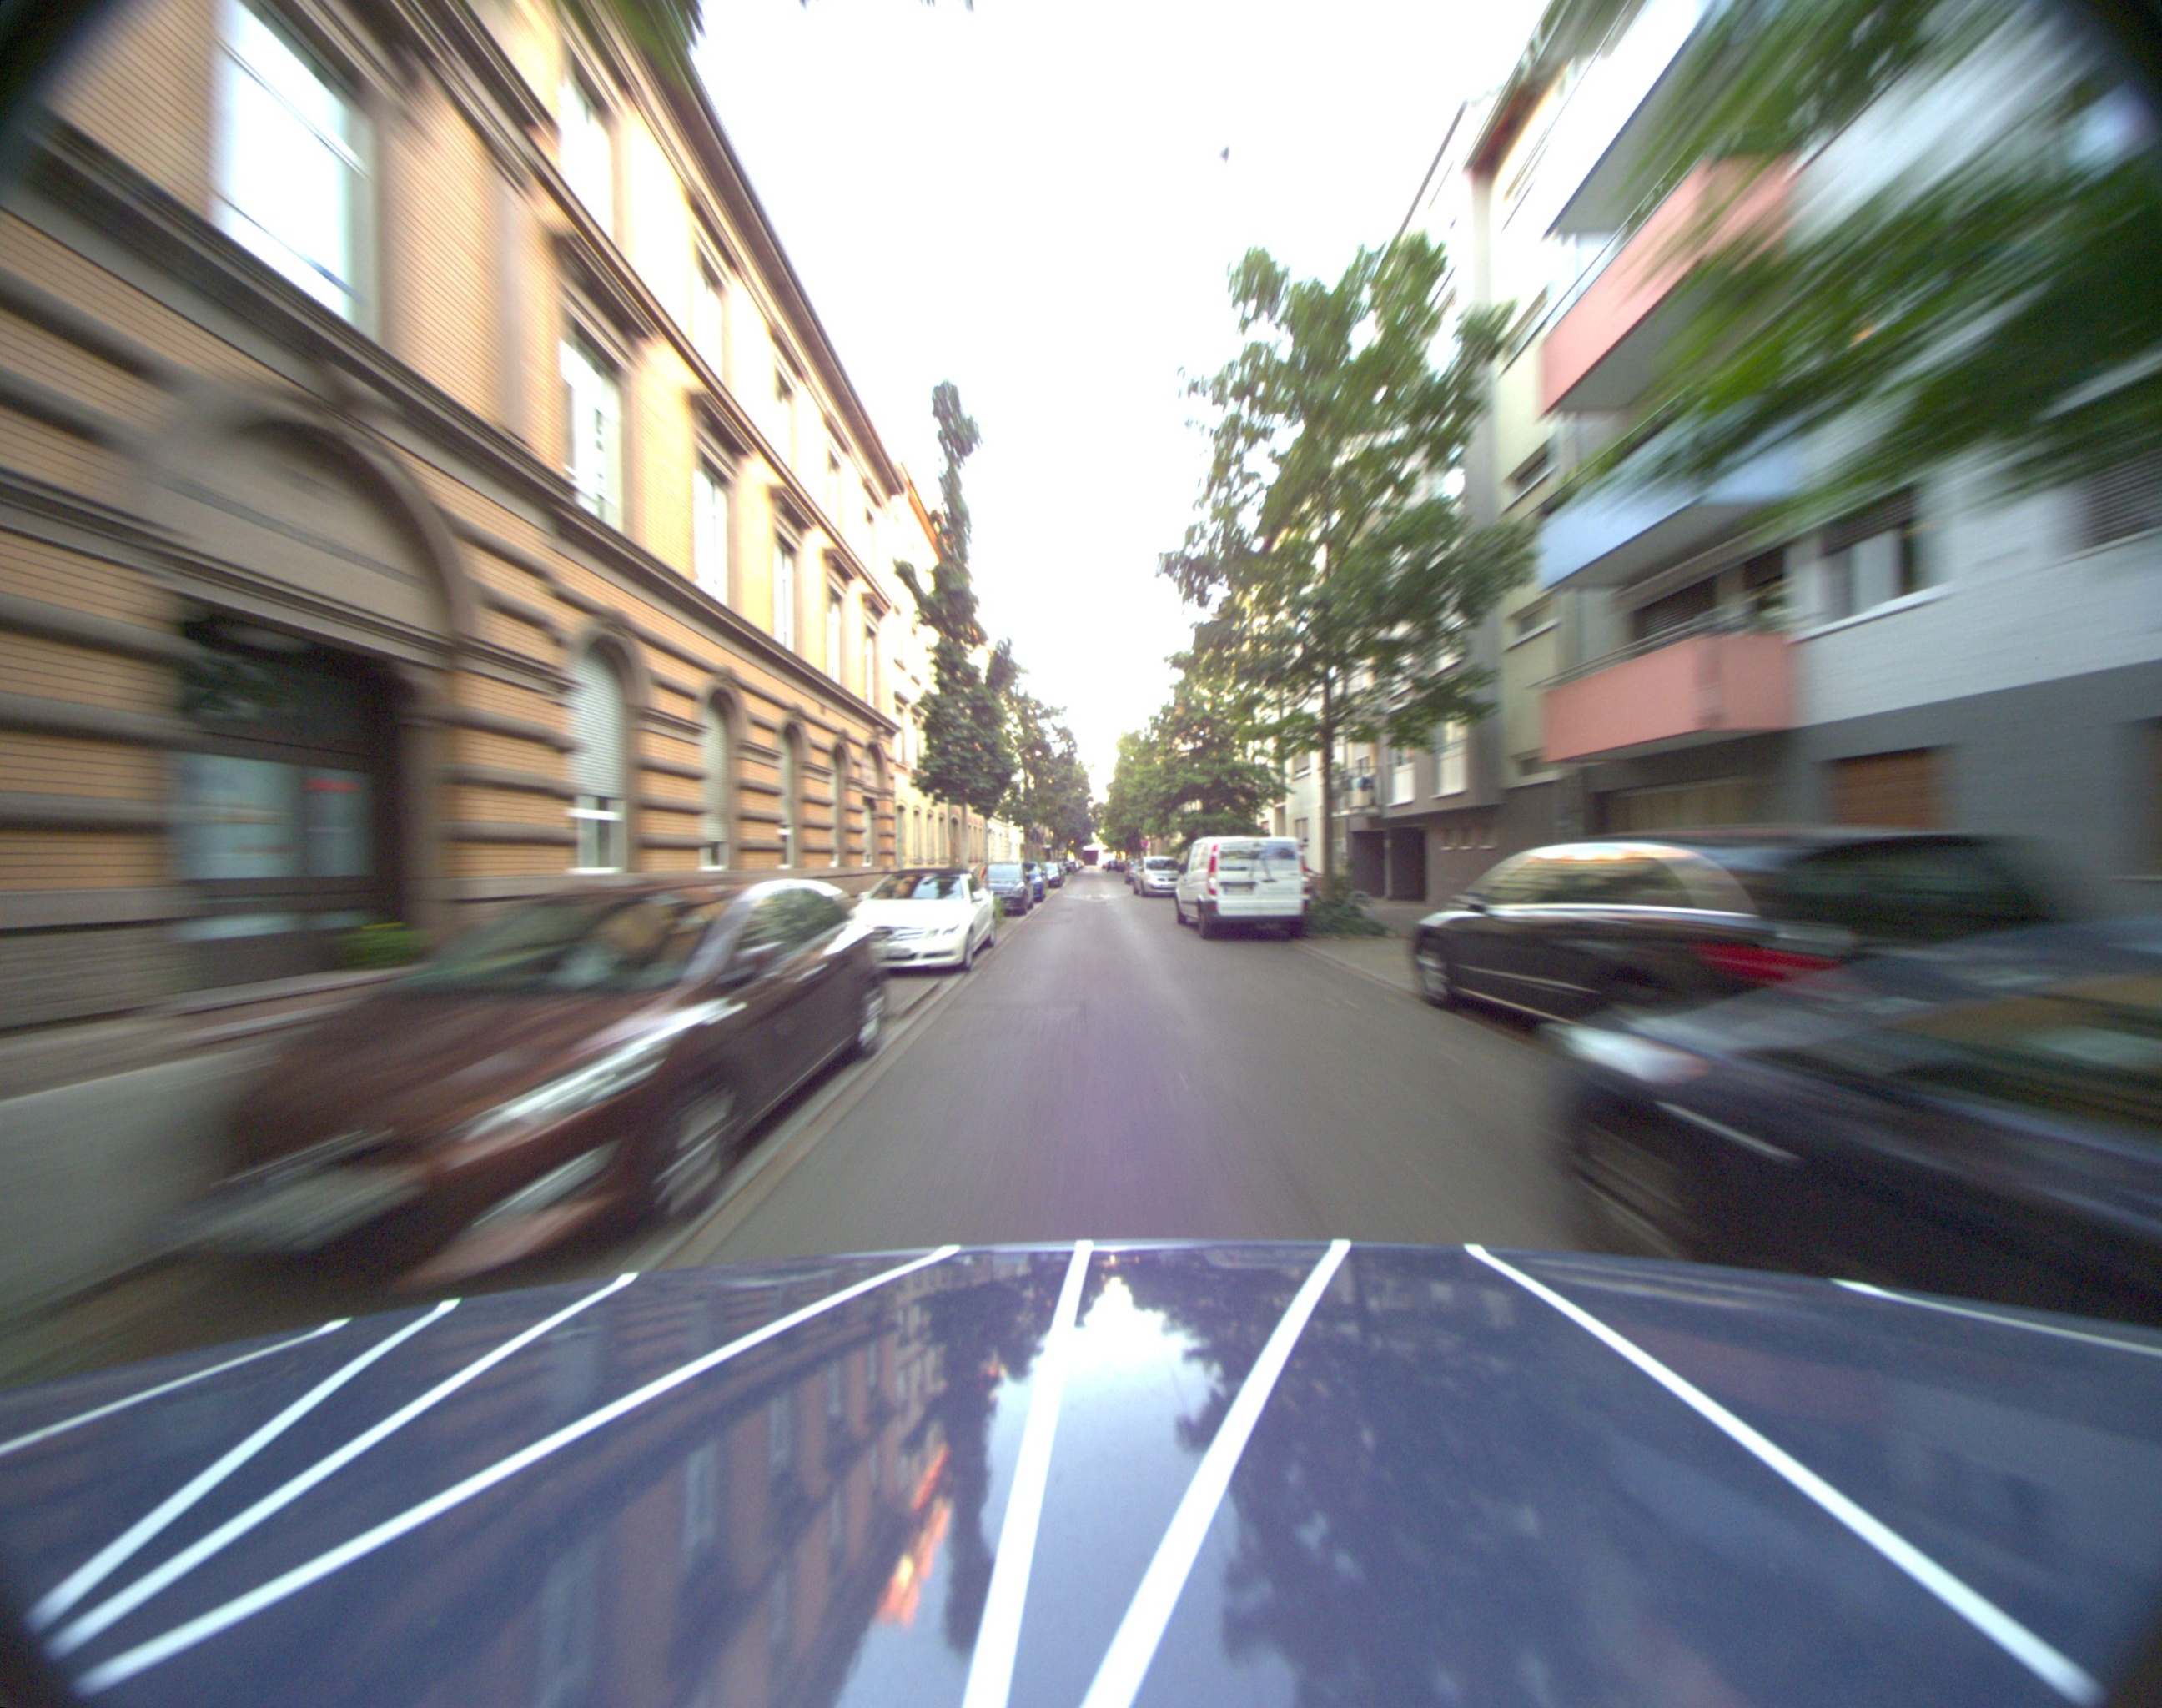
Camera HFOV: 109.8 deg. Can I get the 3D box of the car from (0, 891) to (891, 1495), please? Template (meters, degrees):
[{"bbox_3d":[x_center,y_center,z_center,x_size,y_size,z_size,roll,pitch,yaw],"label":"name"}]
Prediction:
[{"bbox_3d":[-2.468,1.032,4.191,1.726,1.441,4.214,0,0,1],"label":"car"}]

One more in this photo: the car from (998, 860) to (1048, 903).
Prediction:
[{"bbox_3d":[-2.105,0.971,28.558,1.632,1.458,4.245,0,0,-1],"label":"car"}]

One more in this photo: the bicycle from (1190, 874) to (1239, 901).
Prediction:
[{"bbox_3d":[5.048,1.241,28.728,1.726,0.989,0.578,-1,0,34],"label":"bicycle"}]

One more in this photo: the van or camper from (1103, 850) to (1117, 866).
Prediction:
[{"bbox_3d":[4.670,0.643,123.892,2.225,2.416,5.661,0,0,1],"label":"van or camper"}]

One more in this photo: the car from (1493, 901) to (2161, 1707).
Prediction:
[{"bbox_3d":[2.629,0.965,0.913,1.835,1.508,4.516,-1,0,0],"label":"car"}]

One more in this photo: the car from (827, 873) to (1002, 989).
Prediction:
[{"bbox_3d":[-2.357,1.031,11.949,1.698,1.393,4.646,0,0,0],"label":"car"}]

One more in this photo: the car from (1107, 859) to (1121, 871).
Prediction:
[{"bbox_3d":[4.507,1.517,103.219,1.728,1.564,4.220,-1,0,1],"label":"car"}]

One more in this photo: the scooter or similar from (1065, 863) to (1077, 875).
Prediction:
[{"bbox_3d":[-1.021,1.530,77.296,0.673,1.183,1.118,2,1,41],"label":"scooter or similar"}]

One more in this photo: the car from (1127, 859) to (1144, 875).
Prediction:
[{"bbox_3d":[5.879,1.417,82.464,1.680,1.598,3.862,-2,0,3],"label":"car"}]

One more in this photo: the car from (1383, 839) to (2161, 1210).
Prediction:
[{"bbox_3d":[4.347,0.797,5.964,1.998,1.637,4.922,-2,0,1],"label":"car"}]

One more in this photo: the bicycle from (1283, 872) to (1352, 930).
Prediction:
[{"bbox_3d":[5.147,0.984,16.470,0.697,1.157,1.827,0,0,43],"label":"bicycle"}]

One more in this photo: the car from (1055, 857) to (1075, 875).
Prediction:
[{"bbox_3d":[-1.678,1.241,81.536,2.018,1.822,4.811,1,0,1],"label":"car"}]

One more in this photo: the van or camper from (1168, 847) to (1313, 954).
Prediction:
[{"bbox_3d":[3.029,0.817,15.497,1.881,1.832,4.753,0,0,-1],"label":"van or camper"}]

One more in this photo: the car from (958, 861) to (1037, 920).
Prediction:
[{"bbox_3d":[-2.246,0.950,21.379,1.716,1.469,4.192,-1,0,0],"label":"car"}]

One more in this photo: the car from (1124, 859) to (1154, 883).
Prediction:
[{"bbox_3d":[3.607,1.029,47.629,1.584,1.411,3.753,0,0,1],"label":"car"}]

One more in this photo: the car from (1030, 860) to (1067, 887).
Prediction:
[{"bbox_3d":[-1.824,1.062,43.505,1.771,1.406,4.474,1,0,1],"label":"car"}]

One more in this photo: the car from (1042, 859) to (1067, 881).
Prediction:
[{"bbox_3d":[-1.873,1.118,54.917,1.721,1.467,4.368,1,0,-1],"label":"car"}]

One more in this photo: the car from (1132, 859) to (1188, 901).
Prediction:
[{"bbox_3d":[3.127,0.994,30.762,1.668,1.554,3.999,0,0,-2],"label":"car"}]

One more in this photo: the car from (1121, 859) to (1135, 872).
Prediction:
[{"bbox_3d":[5.902,1.452,94.963,1.523,1.493,3.561,-2,0,1],"label":"car"}]
